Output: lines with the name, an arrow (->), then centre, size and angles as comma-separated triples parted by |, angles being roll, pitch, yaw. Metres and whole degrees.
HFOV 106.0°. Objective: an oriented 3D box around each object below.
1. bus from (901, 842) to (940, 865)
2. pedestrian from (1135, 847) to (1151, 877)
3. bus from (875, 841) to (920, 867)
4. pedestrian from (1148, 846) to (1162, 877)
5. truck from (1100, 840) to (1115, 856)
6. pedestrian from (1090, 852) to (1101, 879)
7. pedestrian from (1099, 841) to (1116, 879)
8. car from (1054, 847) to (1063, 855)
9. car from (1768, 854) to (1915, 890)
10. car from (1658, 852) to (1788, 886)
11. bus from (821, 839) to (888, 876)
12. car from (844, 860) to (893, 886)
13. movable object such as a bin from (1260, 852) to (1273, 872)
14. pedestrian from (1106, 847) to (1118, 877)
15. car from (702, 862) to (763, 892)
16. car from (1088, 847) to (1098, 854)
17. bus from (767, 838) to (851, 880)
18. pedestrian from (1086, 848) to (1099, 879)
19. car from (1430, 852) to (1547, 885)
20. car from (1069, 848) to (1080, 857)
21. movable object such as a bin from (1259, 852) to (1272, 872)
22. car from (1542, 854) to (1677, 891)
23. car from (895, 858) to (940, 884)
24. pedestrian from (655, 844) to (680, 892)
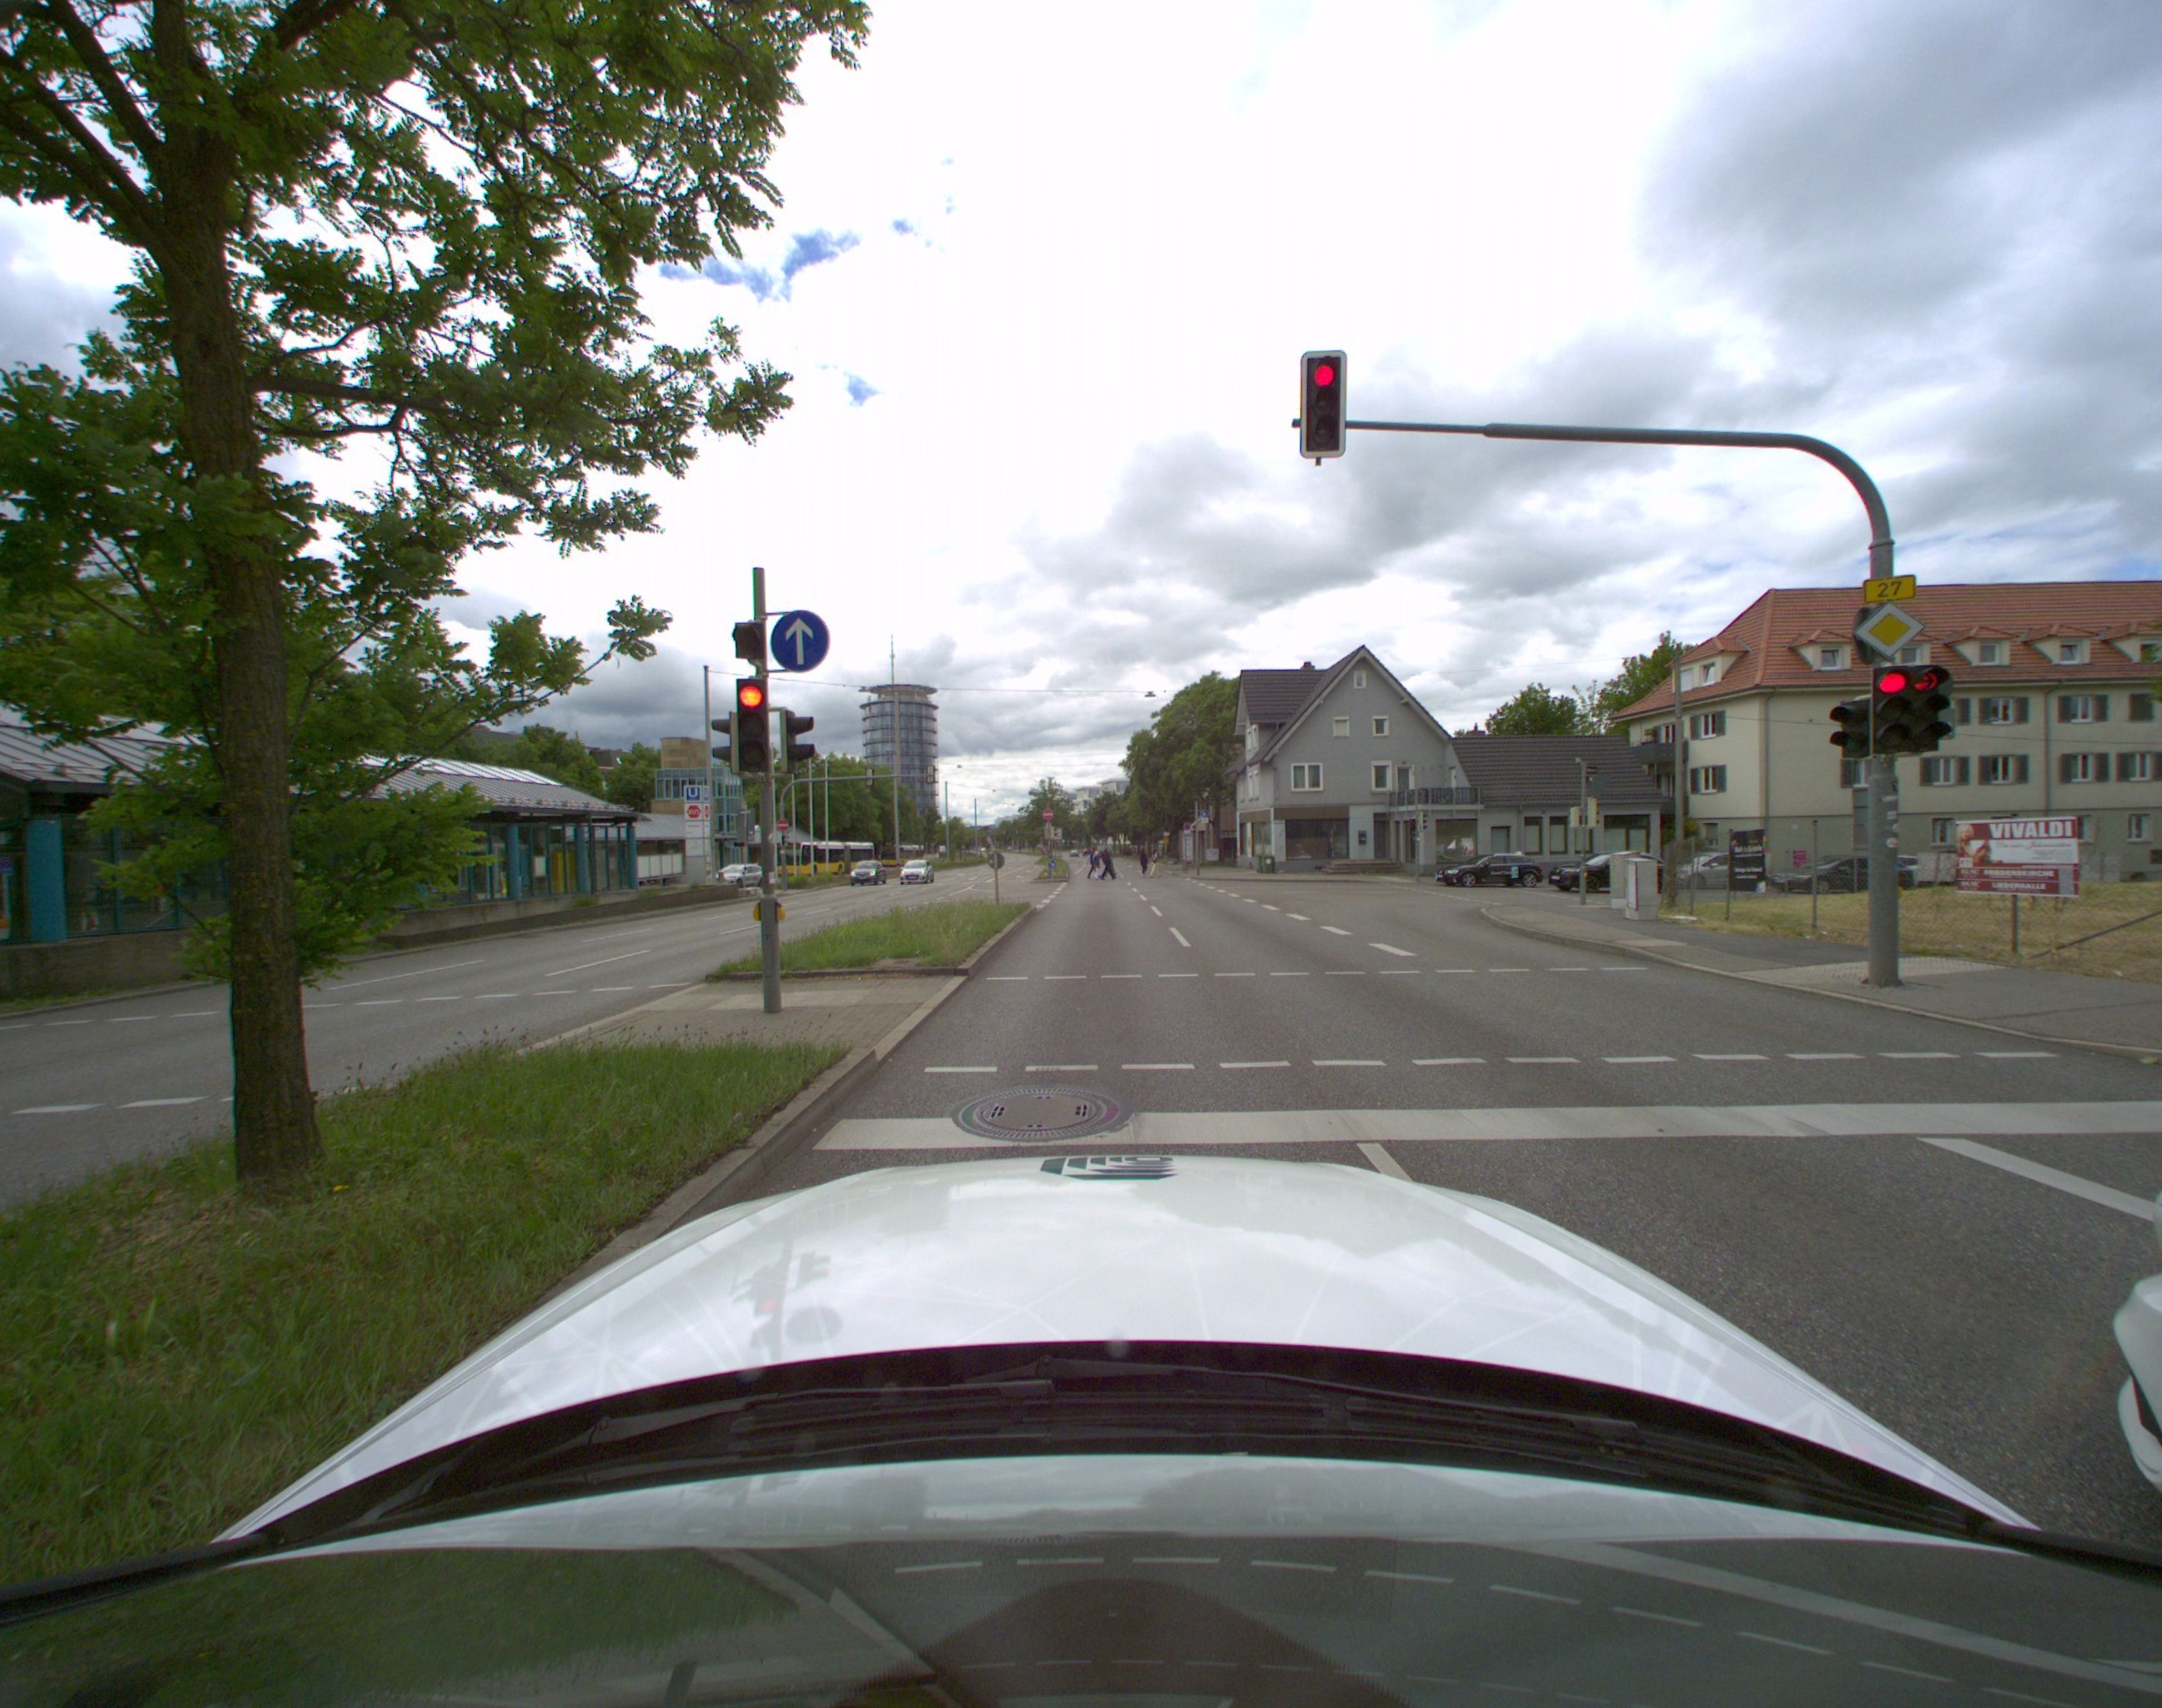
bus -> -24.623, -0.090, 125.653 | 2.817, 3.430, 10.750 | -2, 0, 6
pedestrian -> 3.586, 0.448, 47.167 | 0.744, 1.716, 0.582 | -2, 0, -6
bus -> -25.702, 0.028, 114.930 | 2.817, 3.430, 10.750 | -2, 0, 6
pedestrian -> 4.202, 0.427, 46.422 | 0.652, 1.716, 0.451 | -2, 0, -6
truck -> 4.459, -1.037, 138.236 | 2.462, 2.611, 6.550 | 0, 1, 1
pedestrian -> 0.791, 0.629, 45.564 | 0.542, 1.496, 0.486 | -2, 0, -5
pedestrian -> 1.437, 0.336, 44.555 | 0.829, 2.013, 0.545 | -2, 0, -6
car -> -4.861, -0.683, 176.523 | 1.988, 1.519, 3.997 | -2, 0, -2
car -> 29.398, 0.679, 31.566 | 4.075, 1.371, 1.800 | 0, 0, 0
car -> 26.885, 0.632, 34.215 | 4.075, 1.371, 1.800 | 0, 0, 0
bus -> -23.120, 0.352, 83.796 | 2.817, 3.430, 10.750 | -2, 0, 6
car -> -13.456, 1.152, 51.751 | 1.987, 1.486, 4.000 | -2, 0, 0
movable object such as a bin -> 9.989, 0.436, 43.858 | 0.602, 1.059, 0.590 | 0, 0, 3
pedestrian -> 1.837, 0.483, 48.247 | 0.582, 1.716, 0.545 | -2, 0, -5
car -> -21.335, 1.385, 50.066 | 1.798, 1.662, 4.003 | -2, 0, 3
car -> 2.469, -0.703, 166.191 | 1.986, 1.552, 4.001 | 0, 0, 1
bus -> -24.172, 0.383, 73.110 | 2.817, 3.430, 10.750 | -2, 0, 6
pedestrian -> 0.637, 0.521, 46.228 | 0.611, 1.716, 0.545 | -2, 0, -5
car -> 17.263, 0.610, 34.625 | 4.075, 1.371, 1.800 | 0, 0, 0
car -> -1.316, -0.237, 165.724 | 1.987, 1.830, 4.000 | 0, 0, 0
movable object such as a bin -> 10.054, 0.440, 44.473 | 0.613, 1.043, 0.590 | 0, 0, 3
car -> 20.279, 0.680, 31.363 | 4.075, 1.371, 1.800 | 0, 0, 0
car -> -10.251, 1.039, 51.343 | 1.987, 1.486, 4.000 | -2, 0, 0
pedestrian -> -17.539, 0.590, 34.552 | 0.680, 2.013, 0.645 | -2, 0, -3
